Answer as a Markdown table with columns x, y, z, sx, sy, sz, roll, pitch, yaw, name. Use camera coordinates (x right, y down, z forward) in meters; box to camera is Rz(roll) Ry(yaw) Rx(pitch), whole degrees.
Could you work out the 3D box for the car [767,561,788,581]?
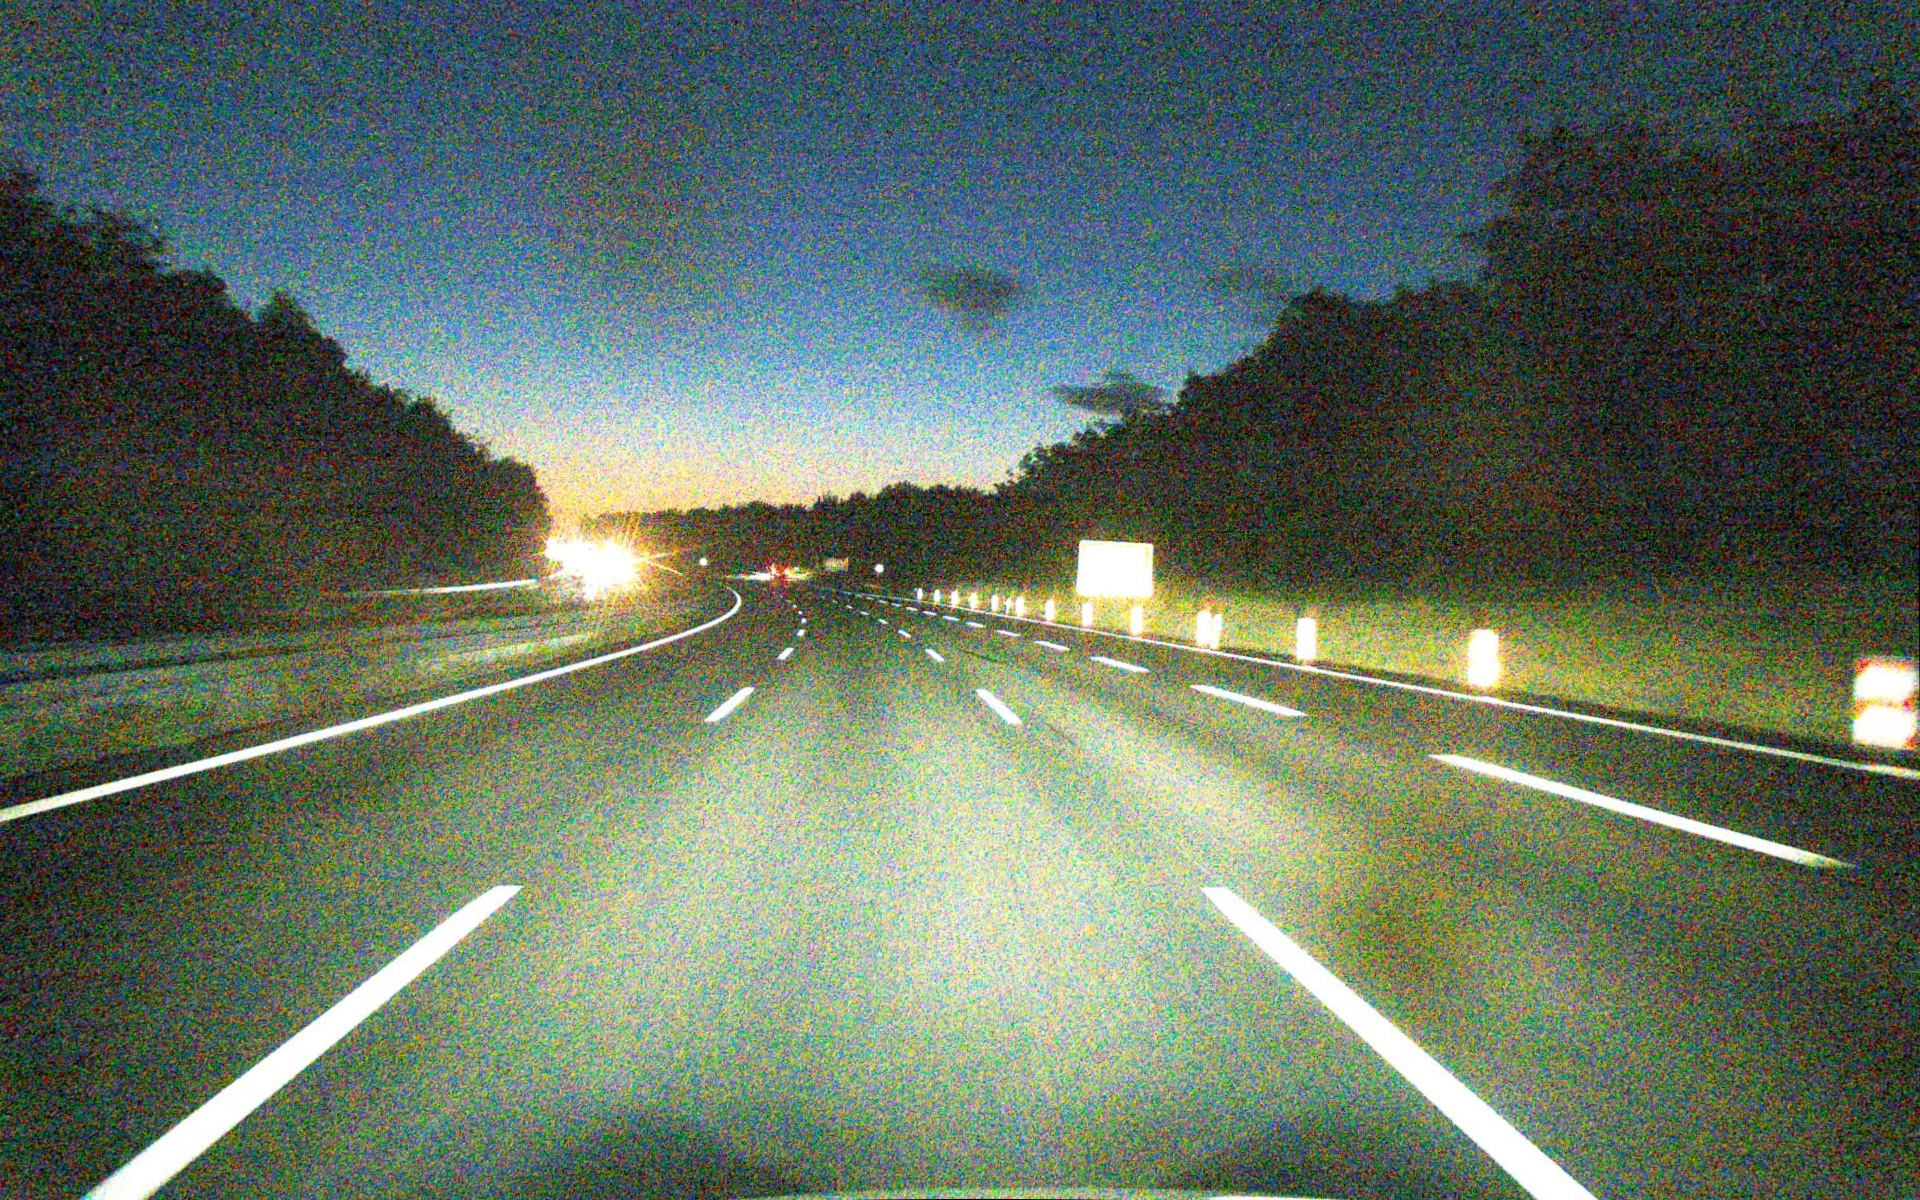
| x | y | z | sx | sy | sz | roll | pitch | yaw | name |
| --- | --- | --- | --- | --- | --- | --- | --- | --- | --- |
| -25.360 | -4.048 | 229.755 | 2.482 | 2.597 | 6.038 | 3 | 1 | -10 | car |
